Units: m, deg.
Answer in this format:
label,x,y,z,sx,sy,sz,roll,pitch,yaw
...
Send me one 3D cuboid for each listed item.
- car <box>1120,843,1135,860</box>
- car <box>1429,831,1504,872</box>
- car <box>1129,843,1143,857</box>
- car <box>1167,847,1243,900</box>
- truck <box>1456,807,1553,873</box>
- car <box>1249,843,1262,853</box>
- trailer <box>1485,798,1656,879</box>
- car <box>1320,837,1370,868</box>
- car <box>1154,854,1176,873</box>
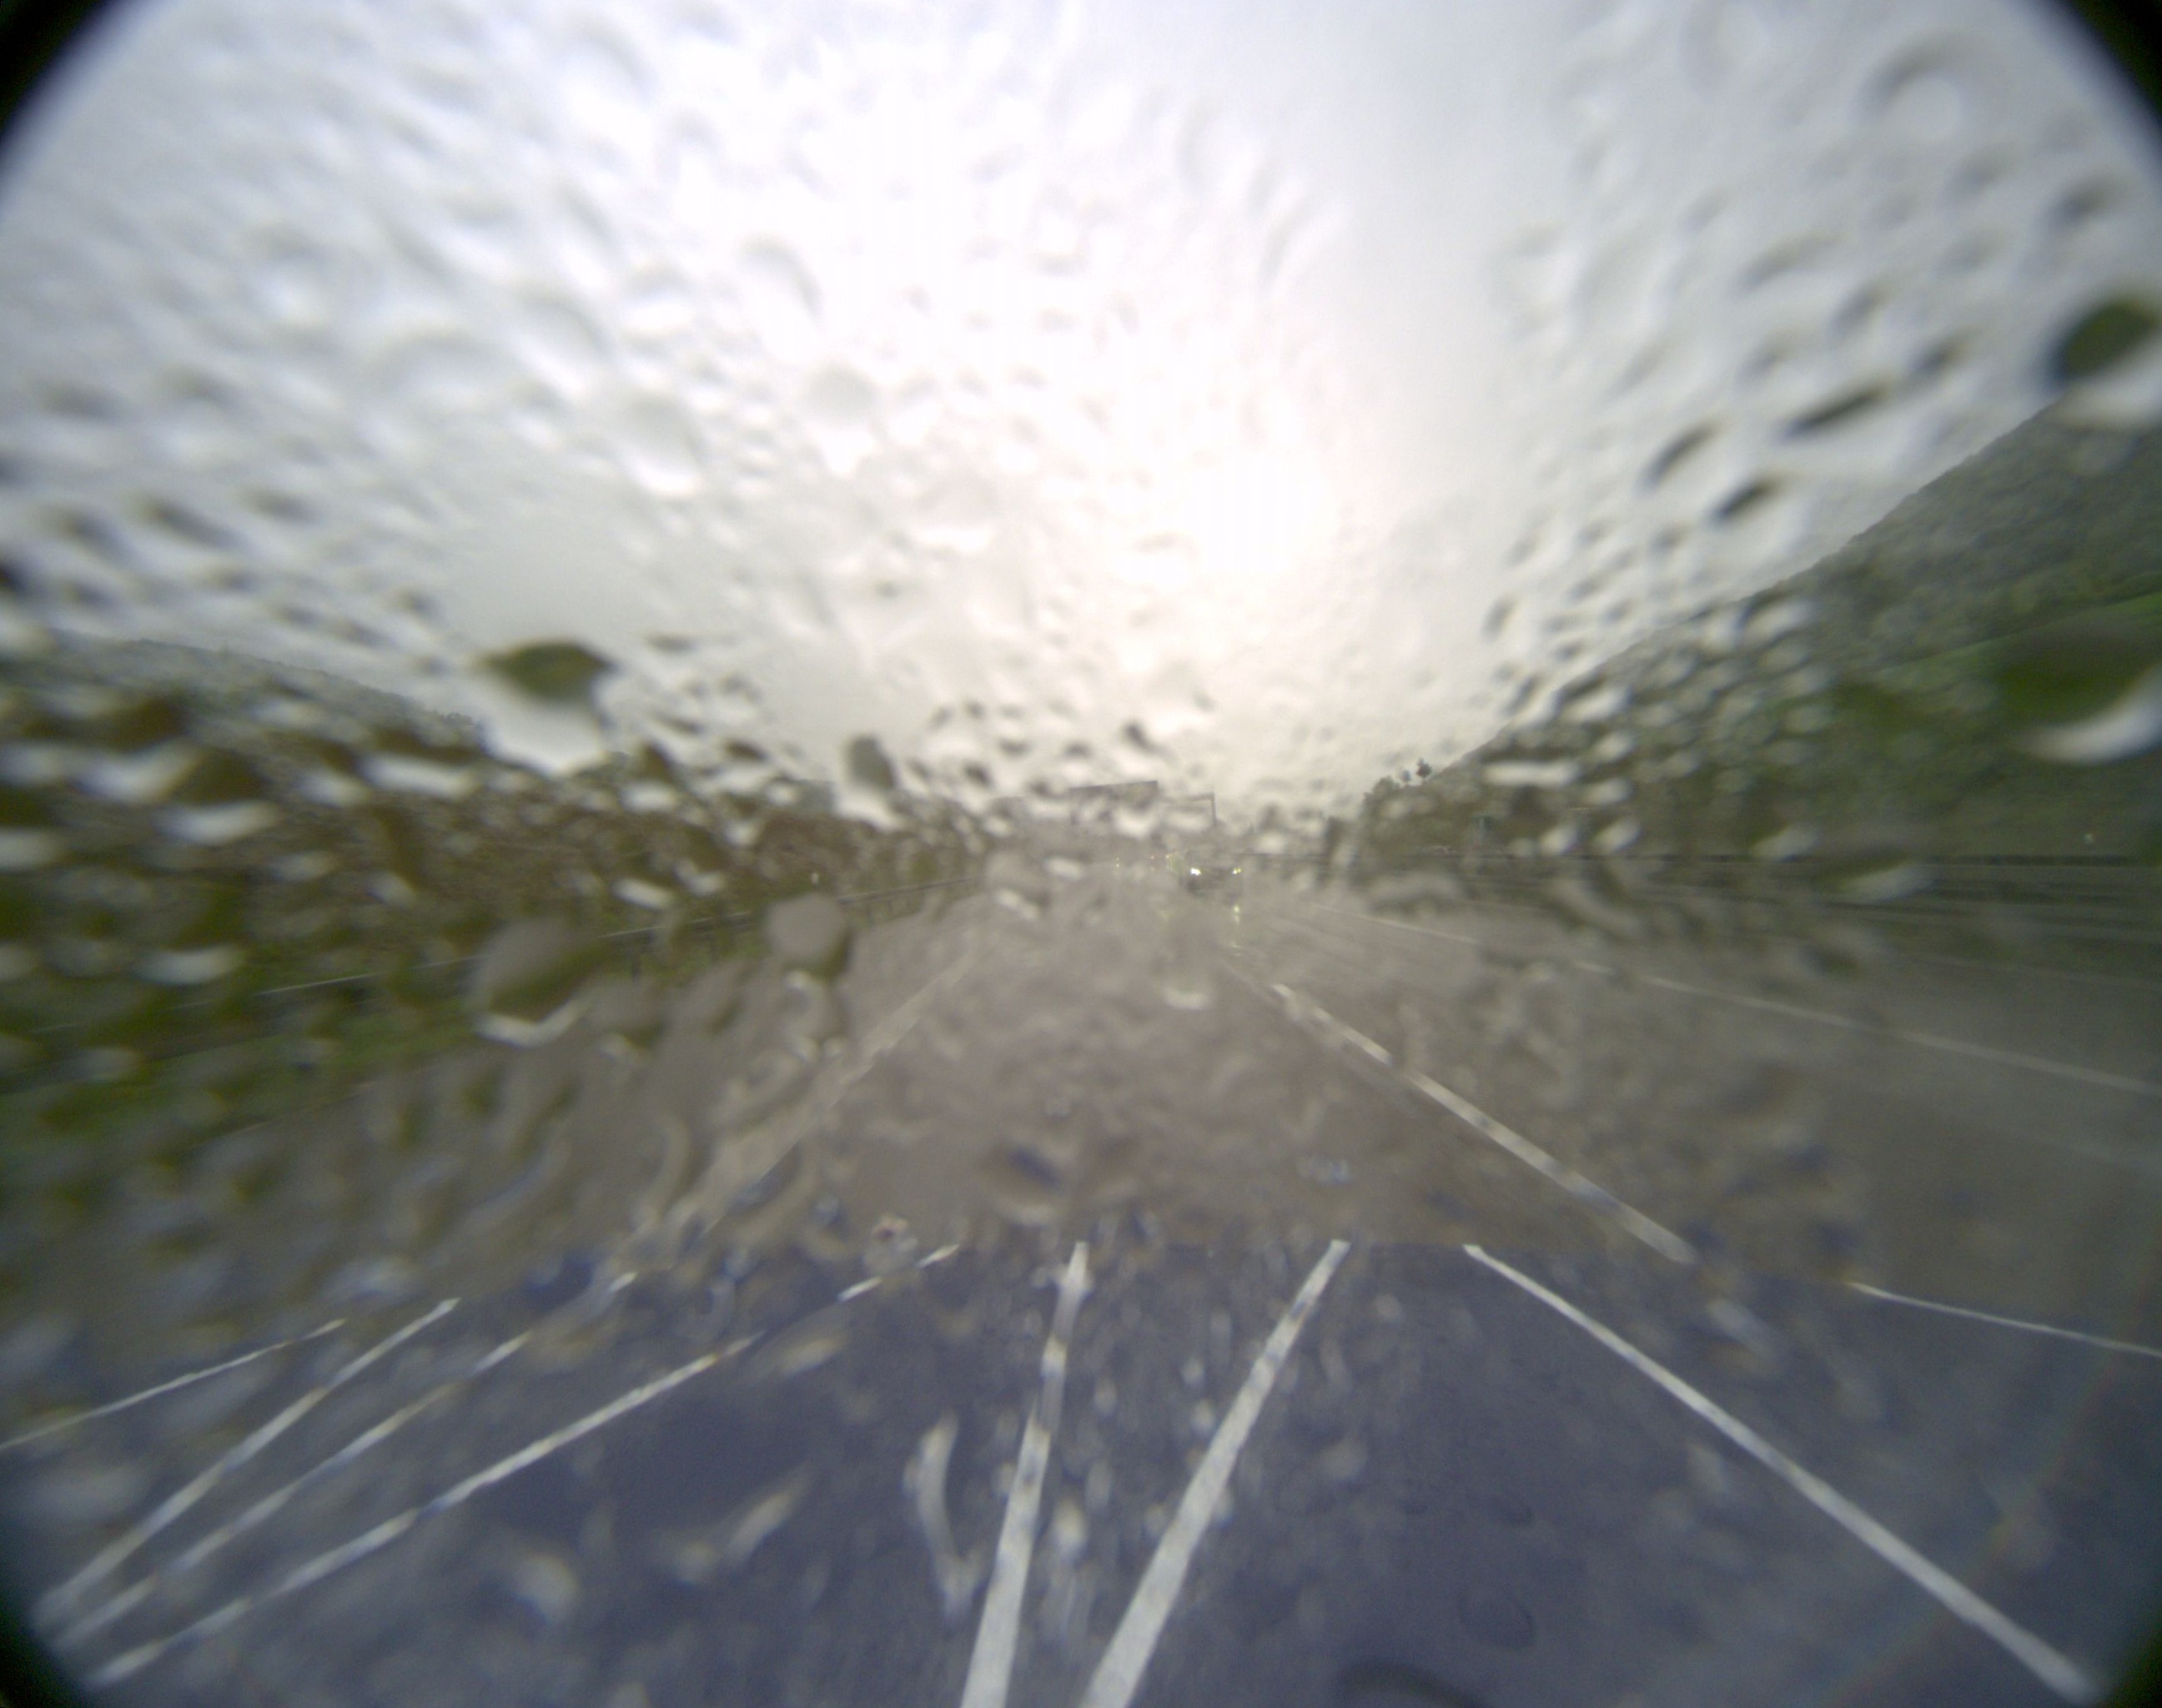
label,x,y,z,sx,sy,sz,roll,pitch,yaw
car,6.129,-0.350,100.785,1.835,2.002,3.939,-4,1,3
car,20.307,-0.149,40.236,1.918,2.002,4.000,-2,0,1
car,8.566,-0.581,118.979,1.998,2.002,4.001,-2,0,3
car,4.500,0.656,28.050,1.815,1.692,3.746,-3,1,-5
truck,24.288,-0.774,43.900,2.722,3.522,5.310,-2,0,2
car,32.550,-1.130,141.909,1.683,1.783,3.684,-2,0,4
trailer,24.124,-0.716,38.257,2.726,3.470,9.395,-2,0,2
car,16.668,-0.080,48.170,1.864,1.835,4.000,-1,0,2
car,9.369,1.062,85.184,1.987,2.002,3.933,-2,0,0
